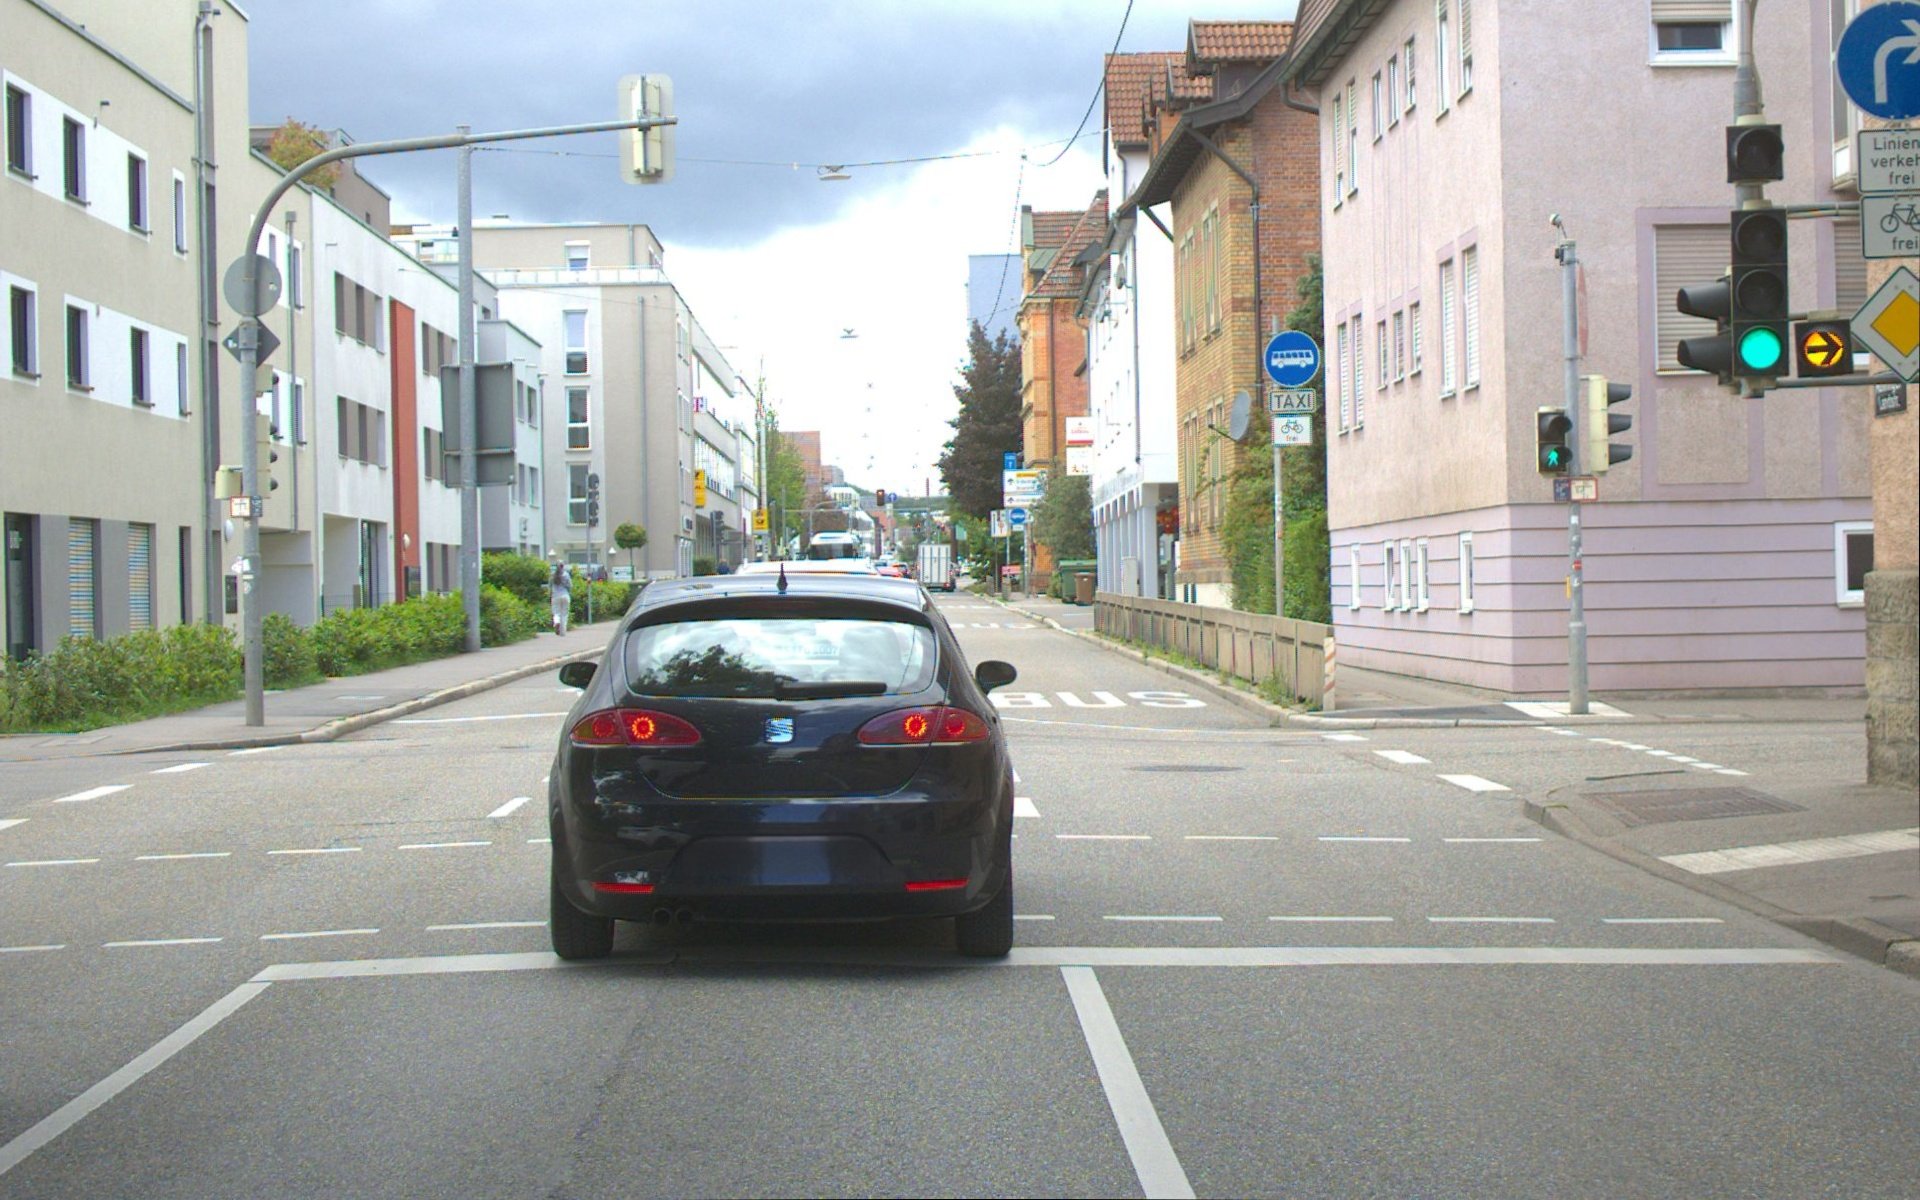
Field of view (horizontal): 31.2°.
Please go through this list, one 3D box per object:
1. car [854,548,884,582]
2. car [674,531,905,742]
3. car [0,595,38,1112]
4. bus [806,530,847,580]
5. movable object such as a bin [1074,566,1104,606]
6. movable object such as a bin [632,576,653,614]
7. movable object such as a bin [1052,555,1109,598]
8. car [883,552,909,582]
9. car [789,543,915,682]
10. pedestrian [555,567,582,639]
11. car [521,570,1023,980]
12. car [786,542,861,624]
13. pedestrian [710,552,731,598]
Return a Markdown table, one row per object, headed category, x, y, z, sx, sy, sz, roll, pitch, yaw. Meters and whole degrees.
| category | x | y | z | sx | sy | sz | roll | pitch | yaw |
| --- | --- | --- | --- | --- | --- | --- | --- | --- | --- |
| car | -4.682 | -1.795 | 176.566 | 1.531 | 1.687 | 3.693 | -1 | 1 | -1 |
| car | -1.419 | 0.287 | 29.601 | 1.842 | 1.687 | 4.000 | 0 | 0 | -1 |
| car | -3.629 | 0.782 | 8.030 | 1.767 | 1.465 | 4.227 | -4 | 0 | -1 |
| bus | -7.828 | -2.634 | 202.878 | 2.210 | 2.876 | 8.920 | 0 | 0 | -1 |
| movable object such as a bin | 4.159 | -0.466 | 110.962 | 0.928 | 1.279 | 0.883 | 0 | 0 | 0 |
| movable object such as a bin | -9.055 | -0.151 | 98.069 | 0.549 | 1.075 | 0.612 | 0 | 0 | 0 |
| movable object such as a bin | 4.034 | -0.778 | 115.237 | 1.818 | 1.432 | 1.993 | 0 | 0 | 0 |
| car | -3.805 | -1.962 | 204.054 | 1.531 | 1.687 | 3.693 | -1 | 1 | -1 |
| car | -1.360 | 0.148 | 43.870 | 1.531 | 1.687 | 3.693 | 0 | 0 | -1 |
| pedestrian | -8.399 | 0.062 | 73.718 | 0.526 | 1.542 | 0.541 | 0 | 0 | -1 |
| car | -0.696 | 0.608 | 14.089 | 1.759 | 1.437 | 4.000 | 0 | 0 | -1 |
| car | -2.874 | -0.355 | 72.755 | 1.531 | 1.687 | 3.693 | 0 | 0 | -1 |
| pedestrian | -9.004 | -0.926 | 129.323 | 0.730 | 1.723 | 0.859 | 0 | 0 | -2 |
